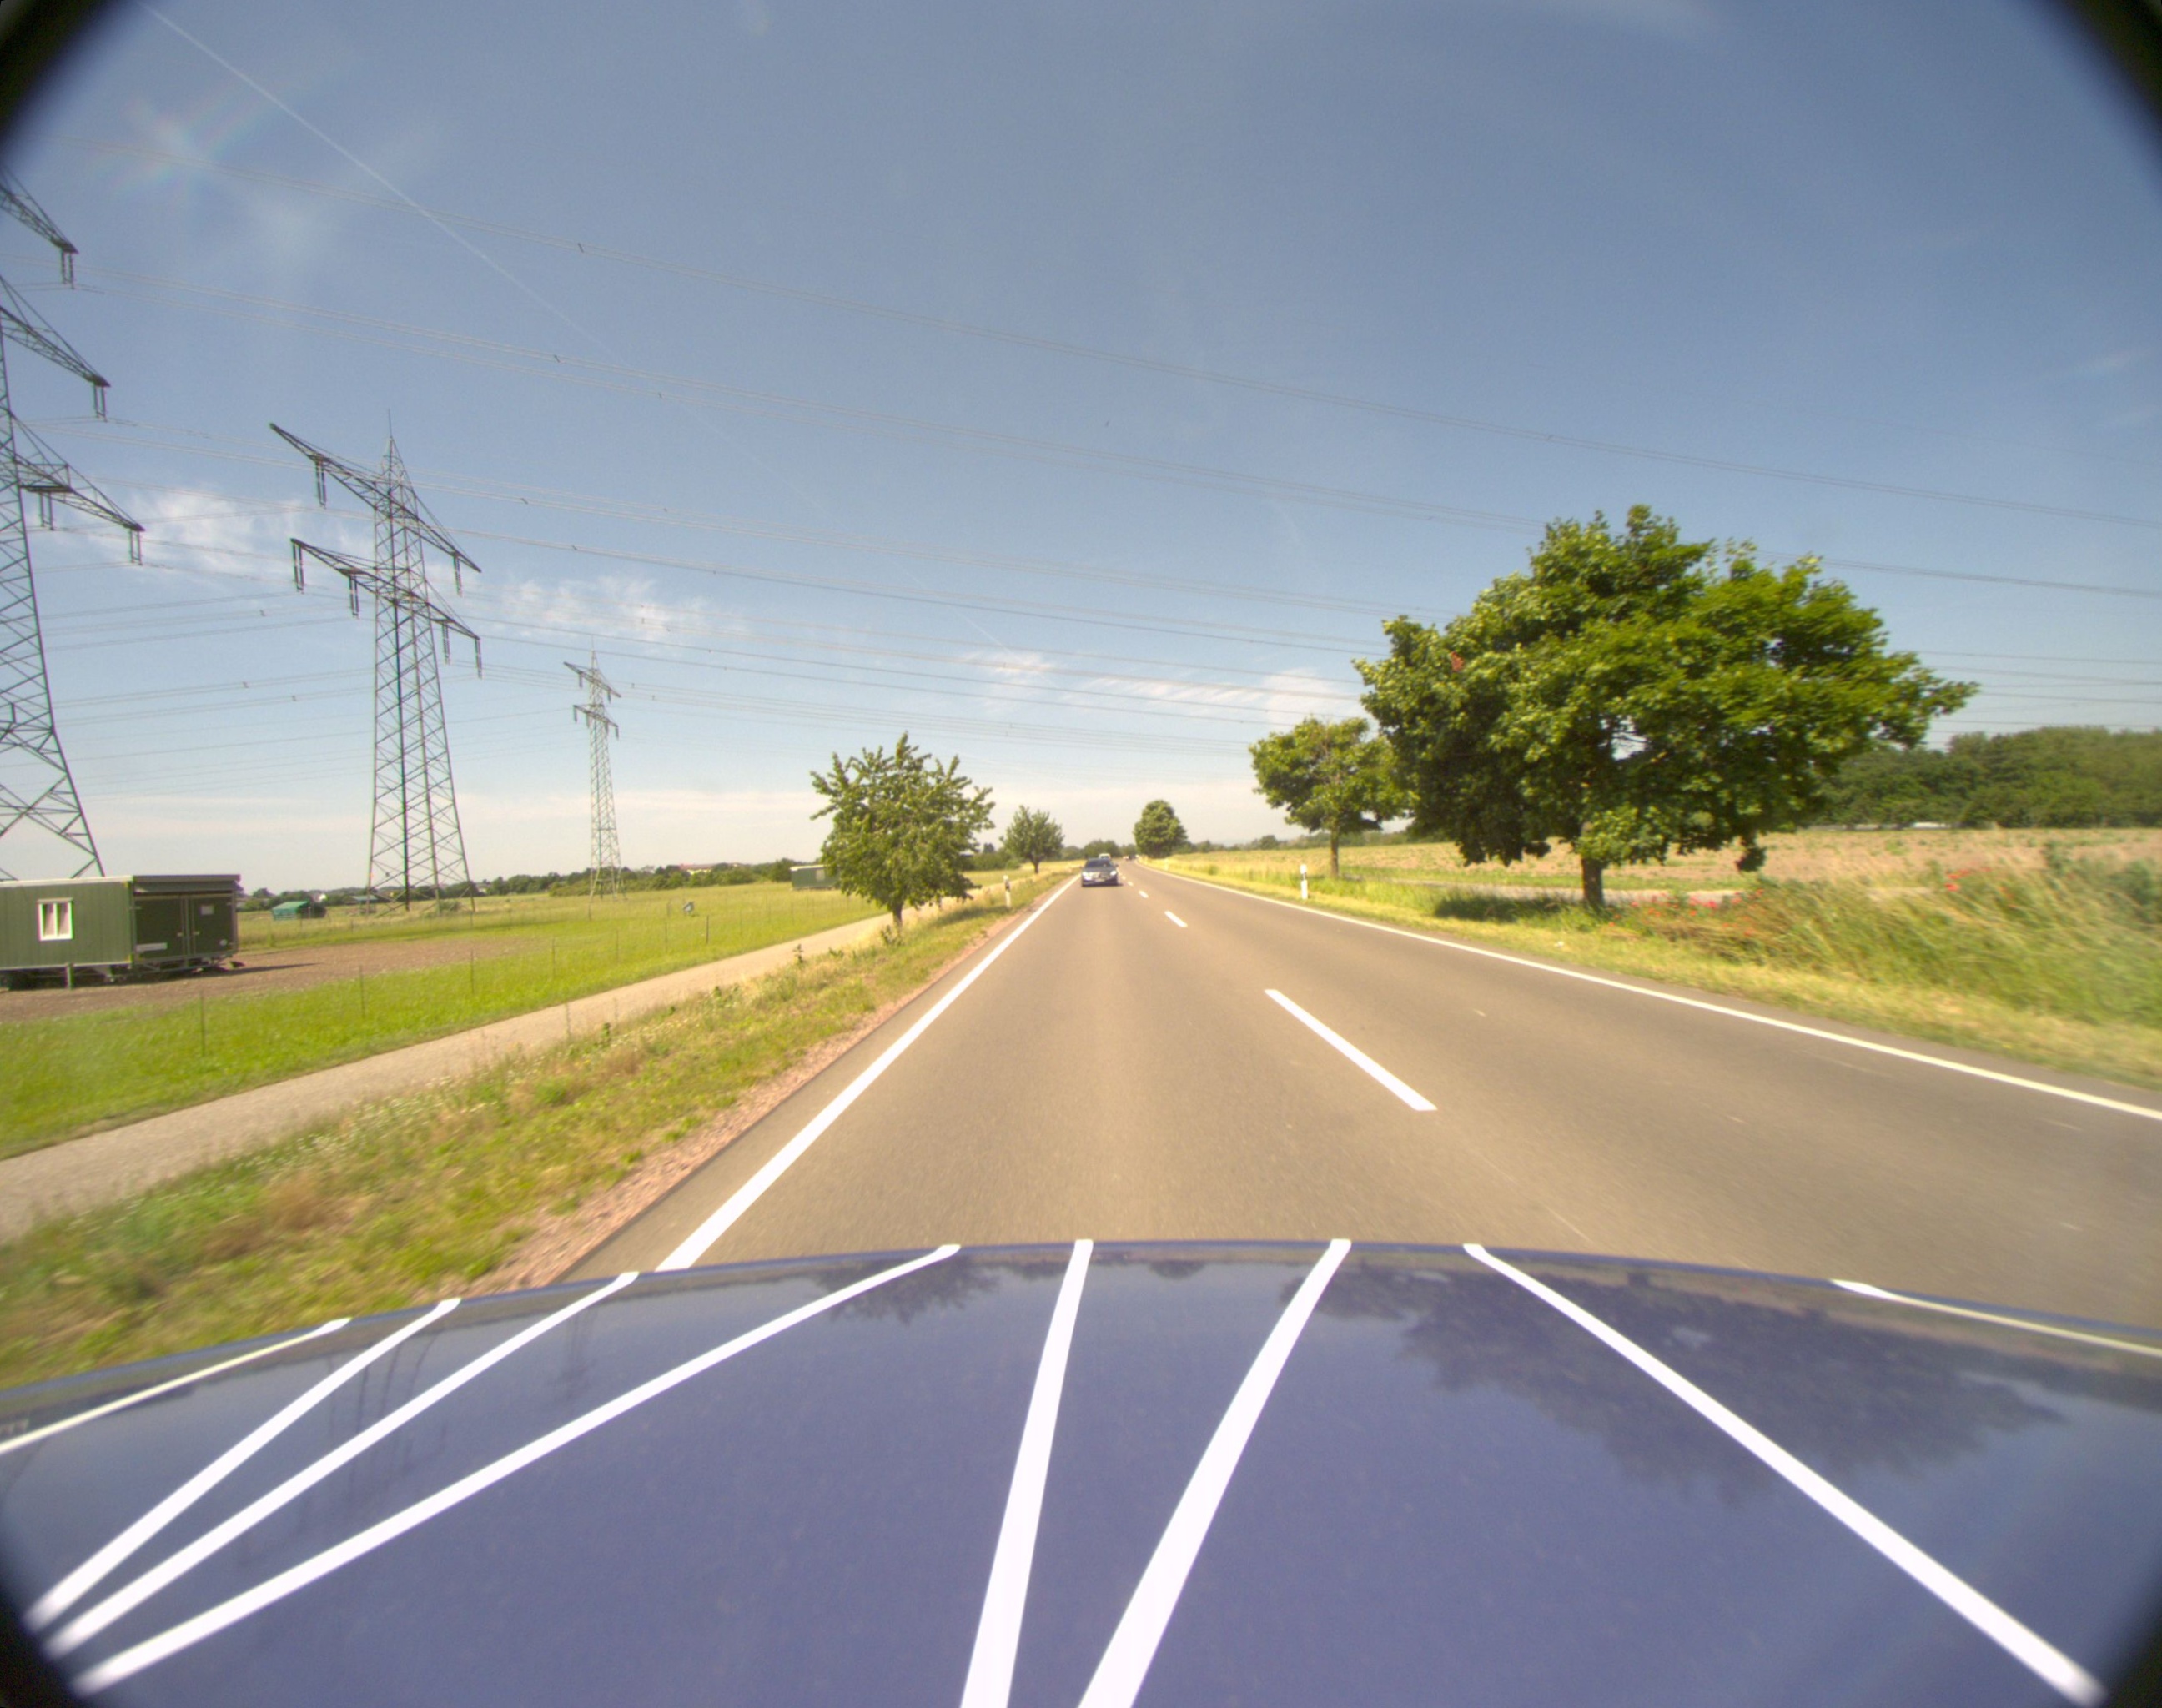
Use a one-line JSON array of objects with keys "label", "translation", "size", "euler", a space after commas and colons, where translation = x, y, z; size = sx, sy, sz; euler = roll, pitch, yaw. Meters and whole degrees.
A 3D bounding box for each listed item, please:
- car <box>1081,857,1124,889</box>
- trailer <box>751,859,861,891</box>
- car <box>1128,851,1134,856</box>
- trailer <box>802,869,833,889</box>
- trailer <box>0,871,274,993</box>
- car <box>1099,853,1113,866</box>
[{"label": "car", "translation": [1.021, 0.901, 37.573], "size": [1.954, 1.390, 3.999], "euler": [-1, 0, 0]}, {"label": "trailer", "translation": [-36.932, 2.860, 102.458], "size": [13.542, 3.455, 3.277], "euler": [-3, 0, 2]}, {"label": "car", "translation": [14.952, -0.191, 226.229], "size": [1.738, 1.439, 4.001], "euler": [-2, 1, 4]}, {"label": "trailer", "translation": [-36.516, 3.459, 105.270], "size": [3.415, 2.448, 2.038], "euler": [-3, 0, 2]}, {"label": "trailer", "translation": [-35.500, 2.696, 25.588], "size": [12.442, 3.452, 3.805], "euler": [-3, 0, 1]}, {"label": "car", "translation": [4.007, 0.868, 122.068], "size": [1.998, 1.907, 4.207], "euler": [-3, 0, 2]}]
